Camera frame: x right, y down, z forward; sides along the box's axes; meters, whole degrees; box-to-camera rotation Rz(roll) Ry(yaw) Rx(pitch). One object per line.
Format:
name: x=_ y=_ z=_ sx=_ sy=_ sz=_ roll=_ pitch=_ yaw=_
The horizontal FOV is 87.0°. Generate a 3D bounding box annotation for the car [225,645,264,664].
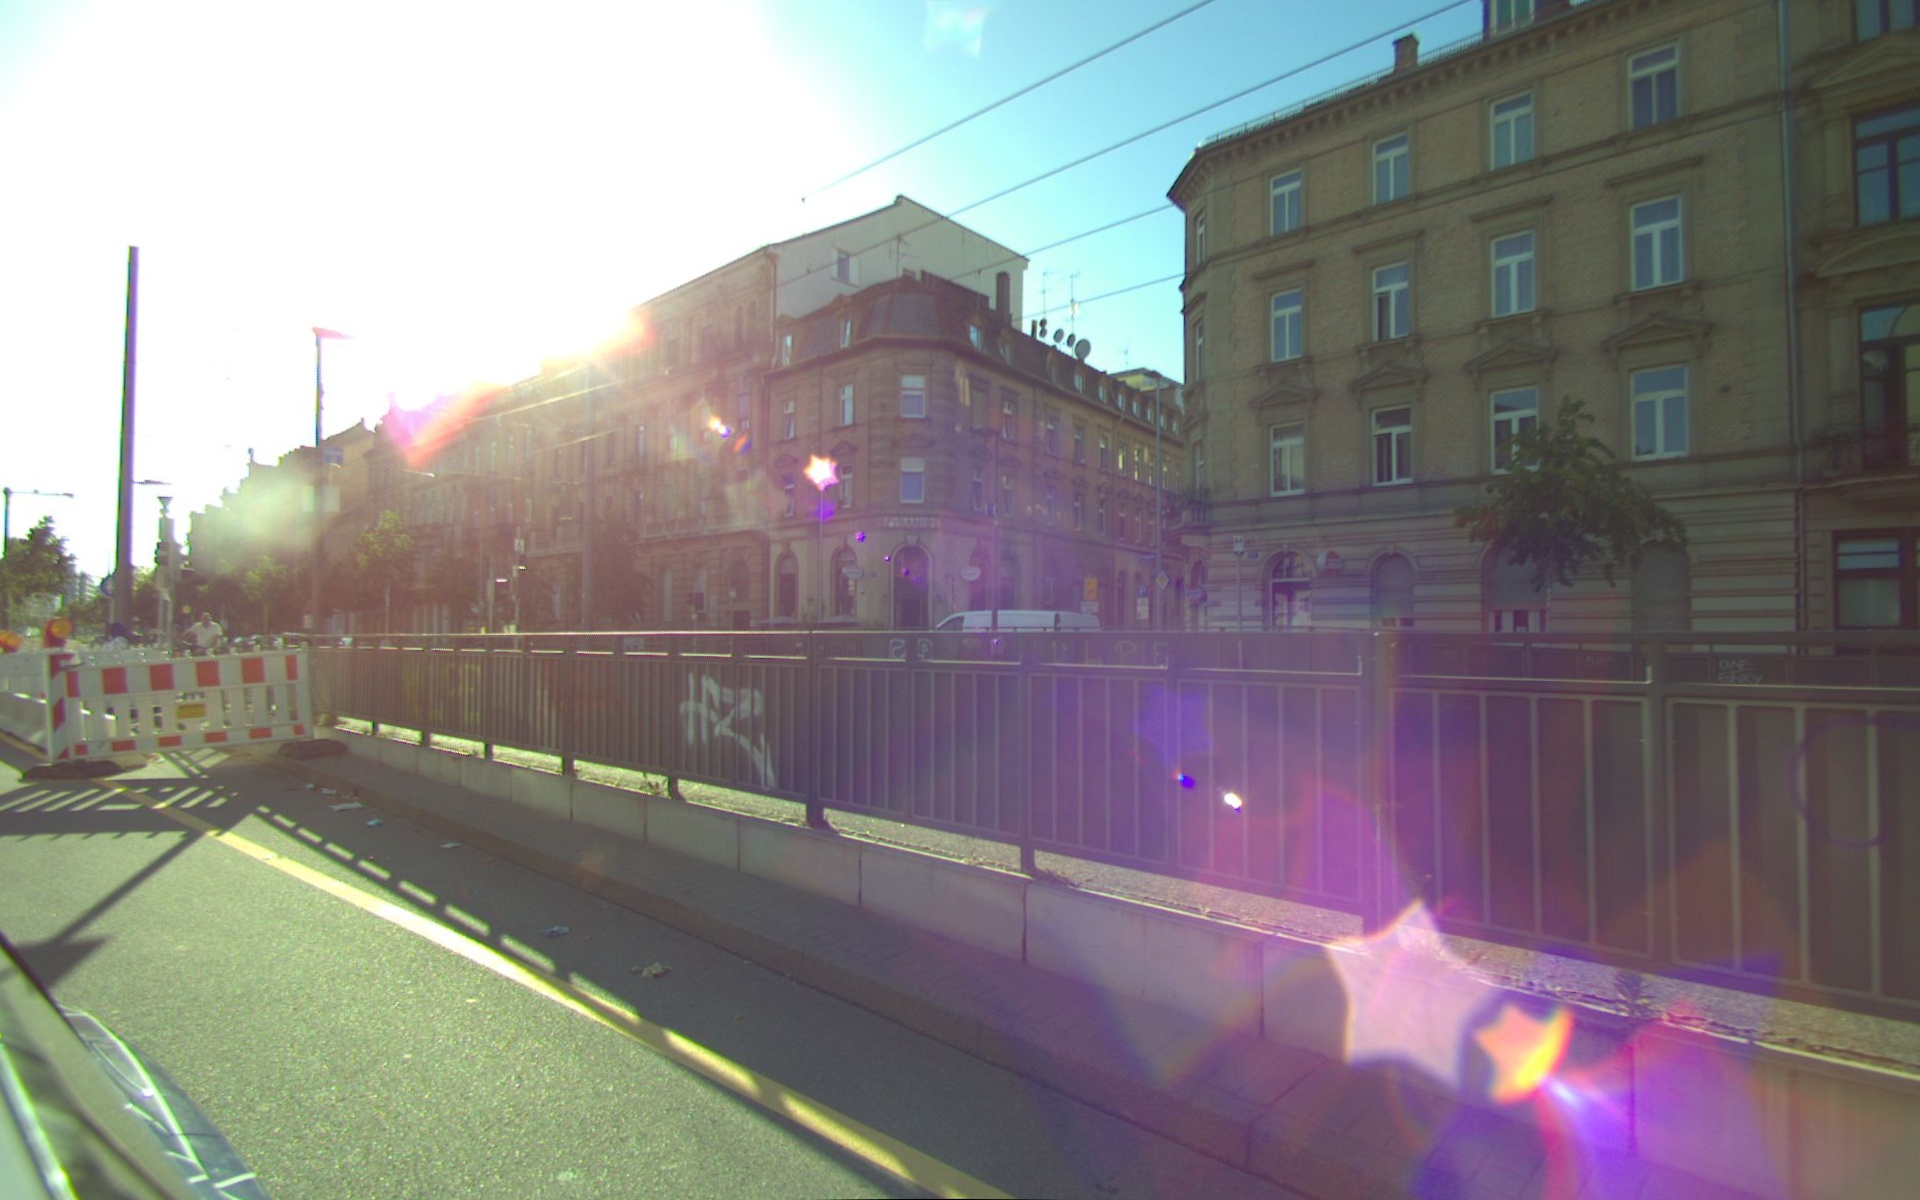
car: x=-64.203 y=4.838 z=90.736 sx=4.985 sy=1.549 sz=1.971 roll=-3 pitch=-1 yaw=44

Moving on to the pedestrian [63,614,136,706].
pedestrian: x=-14.265 y=0.988 z=16.778 sx=0.946 sy=1.469 sz=0.781 roll=-2 pitch=-3 yaw=42

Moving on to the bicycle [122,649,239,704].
bicycle: x=-17.713 y=1.724 z=23.066 sx=0.849 sy=1.162 sz=1.986 roll=-1 pitch=-2 yaw=17

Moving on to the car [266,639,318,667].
car: x=-41.141 y=3.242 z=62.265 sx=4.478 sy=1.652 sz=1.776 roll=-2 pitch=-3 yaw=45

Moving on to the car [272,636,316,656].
car: x=-53.203 y=3.671 z=80.842 sx=4.308 sy=1.449 sz=1.972 roll=-3 pitch=-1 yaw=43

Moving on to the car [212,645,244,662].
car: x=-68.997 y=5.049 z=95.394 sx=4.029 sy=1.490 sz=1.729 roll=-3 pitch=-1 yaw=44

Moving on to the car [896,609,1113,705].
car: x=0.913 y=1.233 z=22.569 sx=4.581 sy=1.895 sz=1.973 roll=-3 pitch=-1 yaw=41

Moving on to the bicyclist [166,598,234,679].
bicyclist: x=-17.164 y=0.863 z=22.873 sx=0.849 sy=1.787 sz=0.880 roll=-1 pitch=-2 yaw=18

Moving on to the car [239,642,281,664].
car: x=-59.736 y=4.525 z=86.335 sx=4.888 sy=1.711 sz=1.972 roll=-3 pitch=-1 yaw=43

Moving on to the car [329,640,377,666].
car: x=-42.813 y=3.703 z=71.351 sx=1.916 sy=1.671 sz=4.547 roll=-1 pitch=-1 yaw=-44
